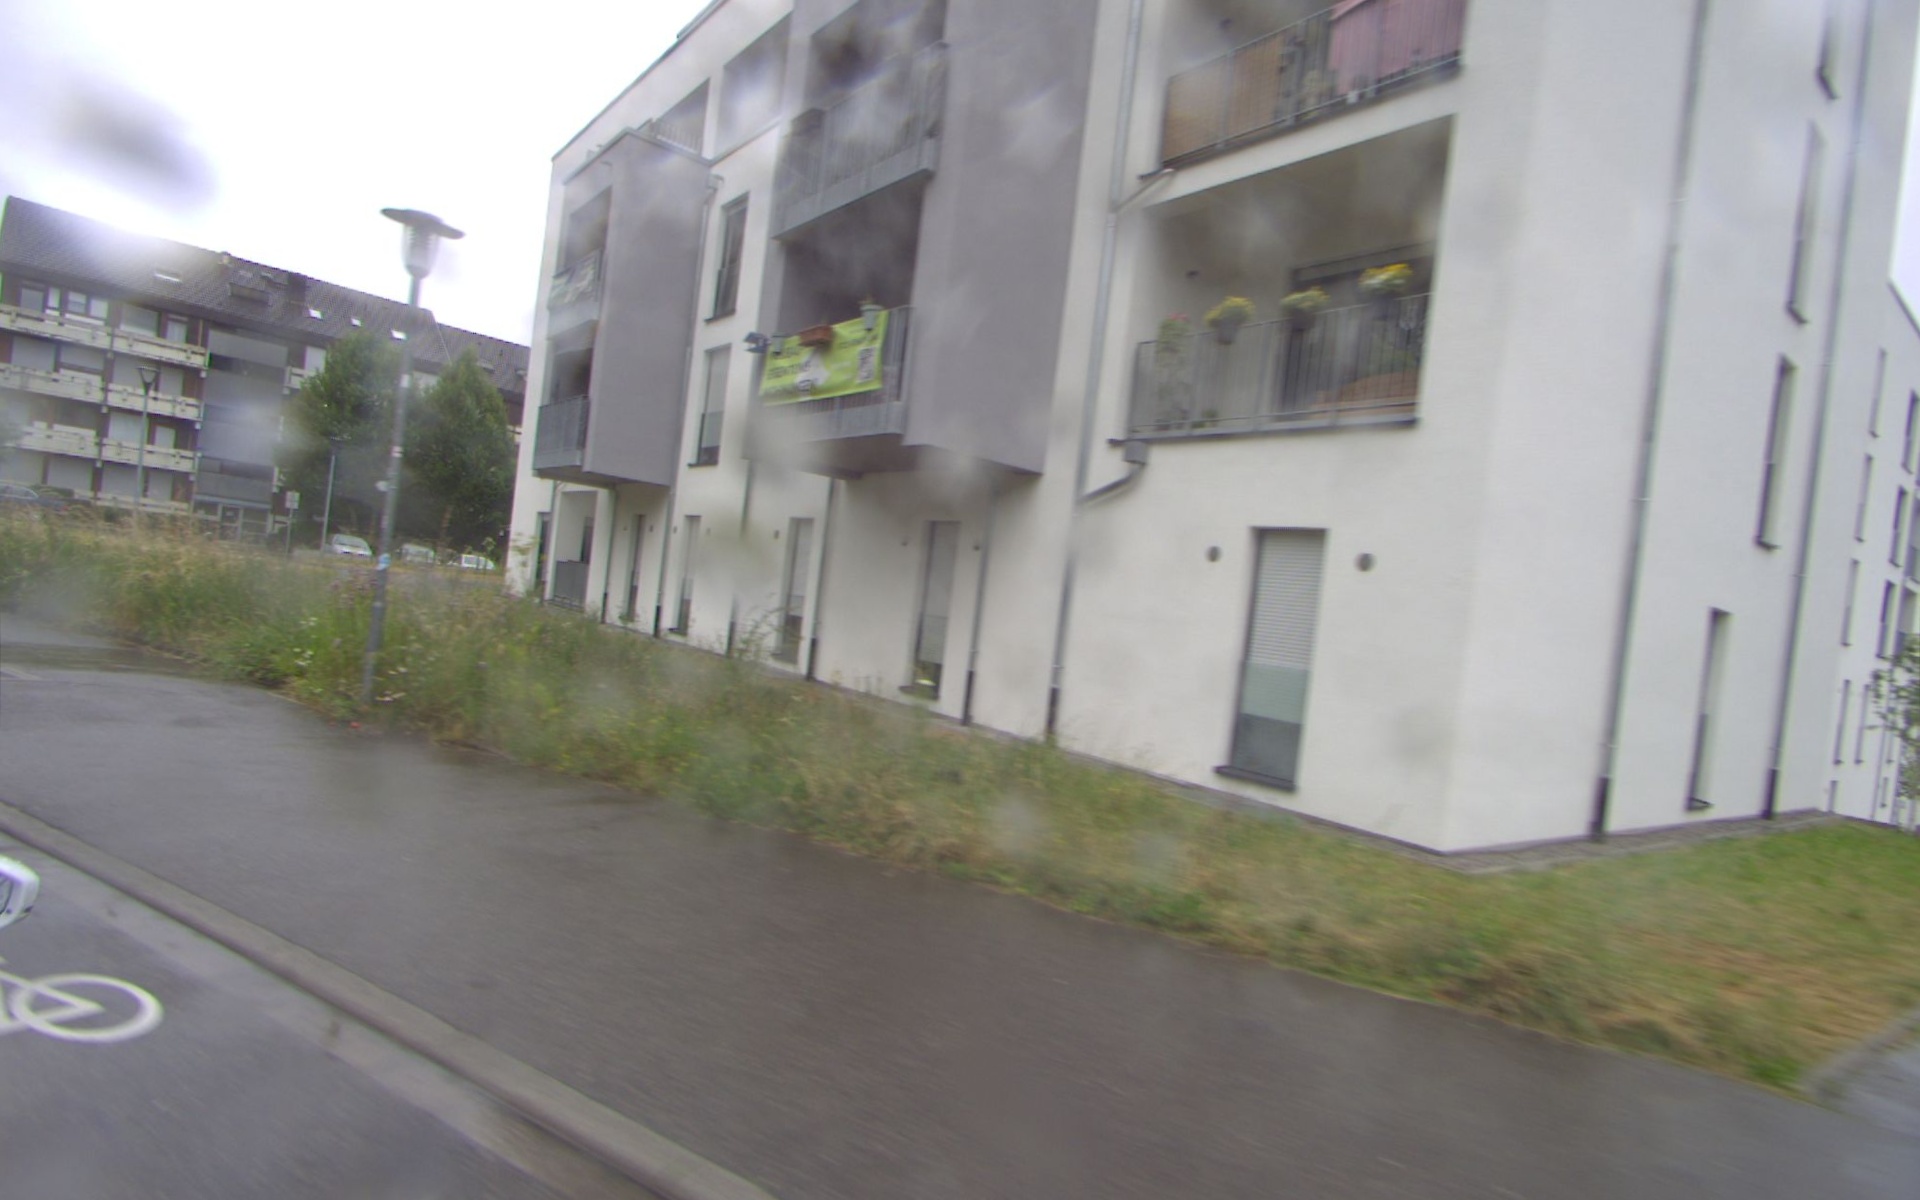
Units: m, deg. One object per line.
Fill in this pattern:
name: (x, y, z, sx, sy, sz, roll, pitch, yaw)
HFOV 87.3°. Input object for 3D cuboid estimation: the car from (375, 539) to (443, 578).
car: (-24.738, -1.855, 45.099, 1.711, 1.457, 3.663, 8, -3, -43)

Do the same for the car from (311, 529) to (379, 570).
car: (-26.676, -2.172, 43.599, 1.711, 1.457, 3.663, 8, -3, -43)

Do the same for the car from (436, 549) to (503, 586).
car: (-22.848, -1.529, 46.826, 1.711, 1.457, 3.663, 8, -3, -43)

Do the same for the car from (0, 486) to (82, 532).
car: (-39.228, -3.918, 41.364, 4.588, 1.403, 1.923, 10, -2, -42)
